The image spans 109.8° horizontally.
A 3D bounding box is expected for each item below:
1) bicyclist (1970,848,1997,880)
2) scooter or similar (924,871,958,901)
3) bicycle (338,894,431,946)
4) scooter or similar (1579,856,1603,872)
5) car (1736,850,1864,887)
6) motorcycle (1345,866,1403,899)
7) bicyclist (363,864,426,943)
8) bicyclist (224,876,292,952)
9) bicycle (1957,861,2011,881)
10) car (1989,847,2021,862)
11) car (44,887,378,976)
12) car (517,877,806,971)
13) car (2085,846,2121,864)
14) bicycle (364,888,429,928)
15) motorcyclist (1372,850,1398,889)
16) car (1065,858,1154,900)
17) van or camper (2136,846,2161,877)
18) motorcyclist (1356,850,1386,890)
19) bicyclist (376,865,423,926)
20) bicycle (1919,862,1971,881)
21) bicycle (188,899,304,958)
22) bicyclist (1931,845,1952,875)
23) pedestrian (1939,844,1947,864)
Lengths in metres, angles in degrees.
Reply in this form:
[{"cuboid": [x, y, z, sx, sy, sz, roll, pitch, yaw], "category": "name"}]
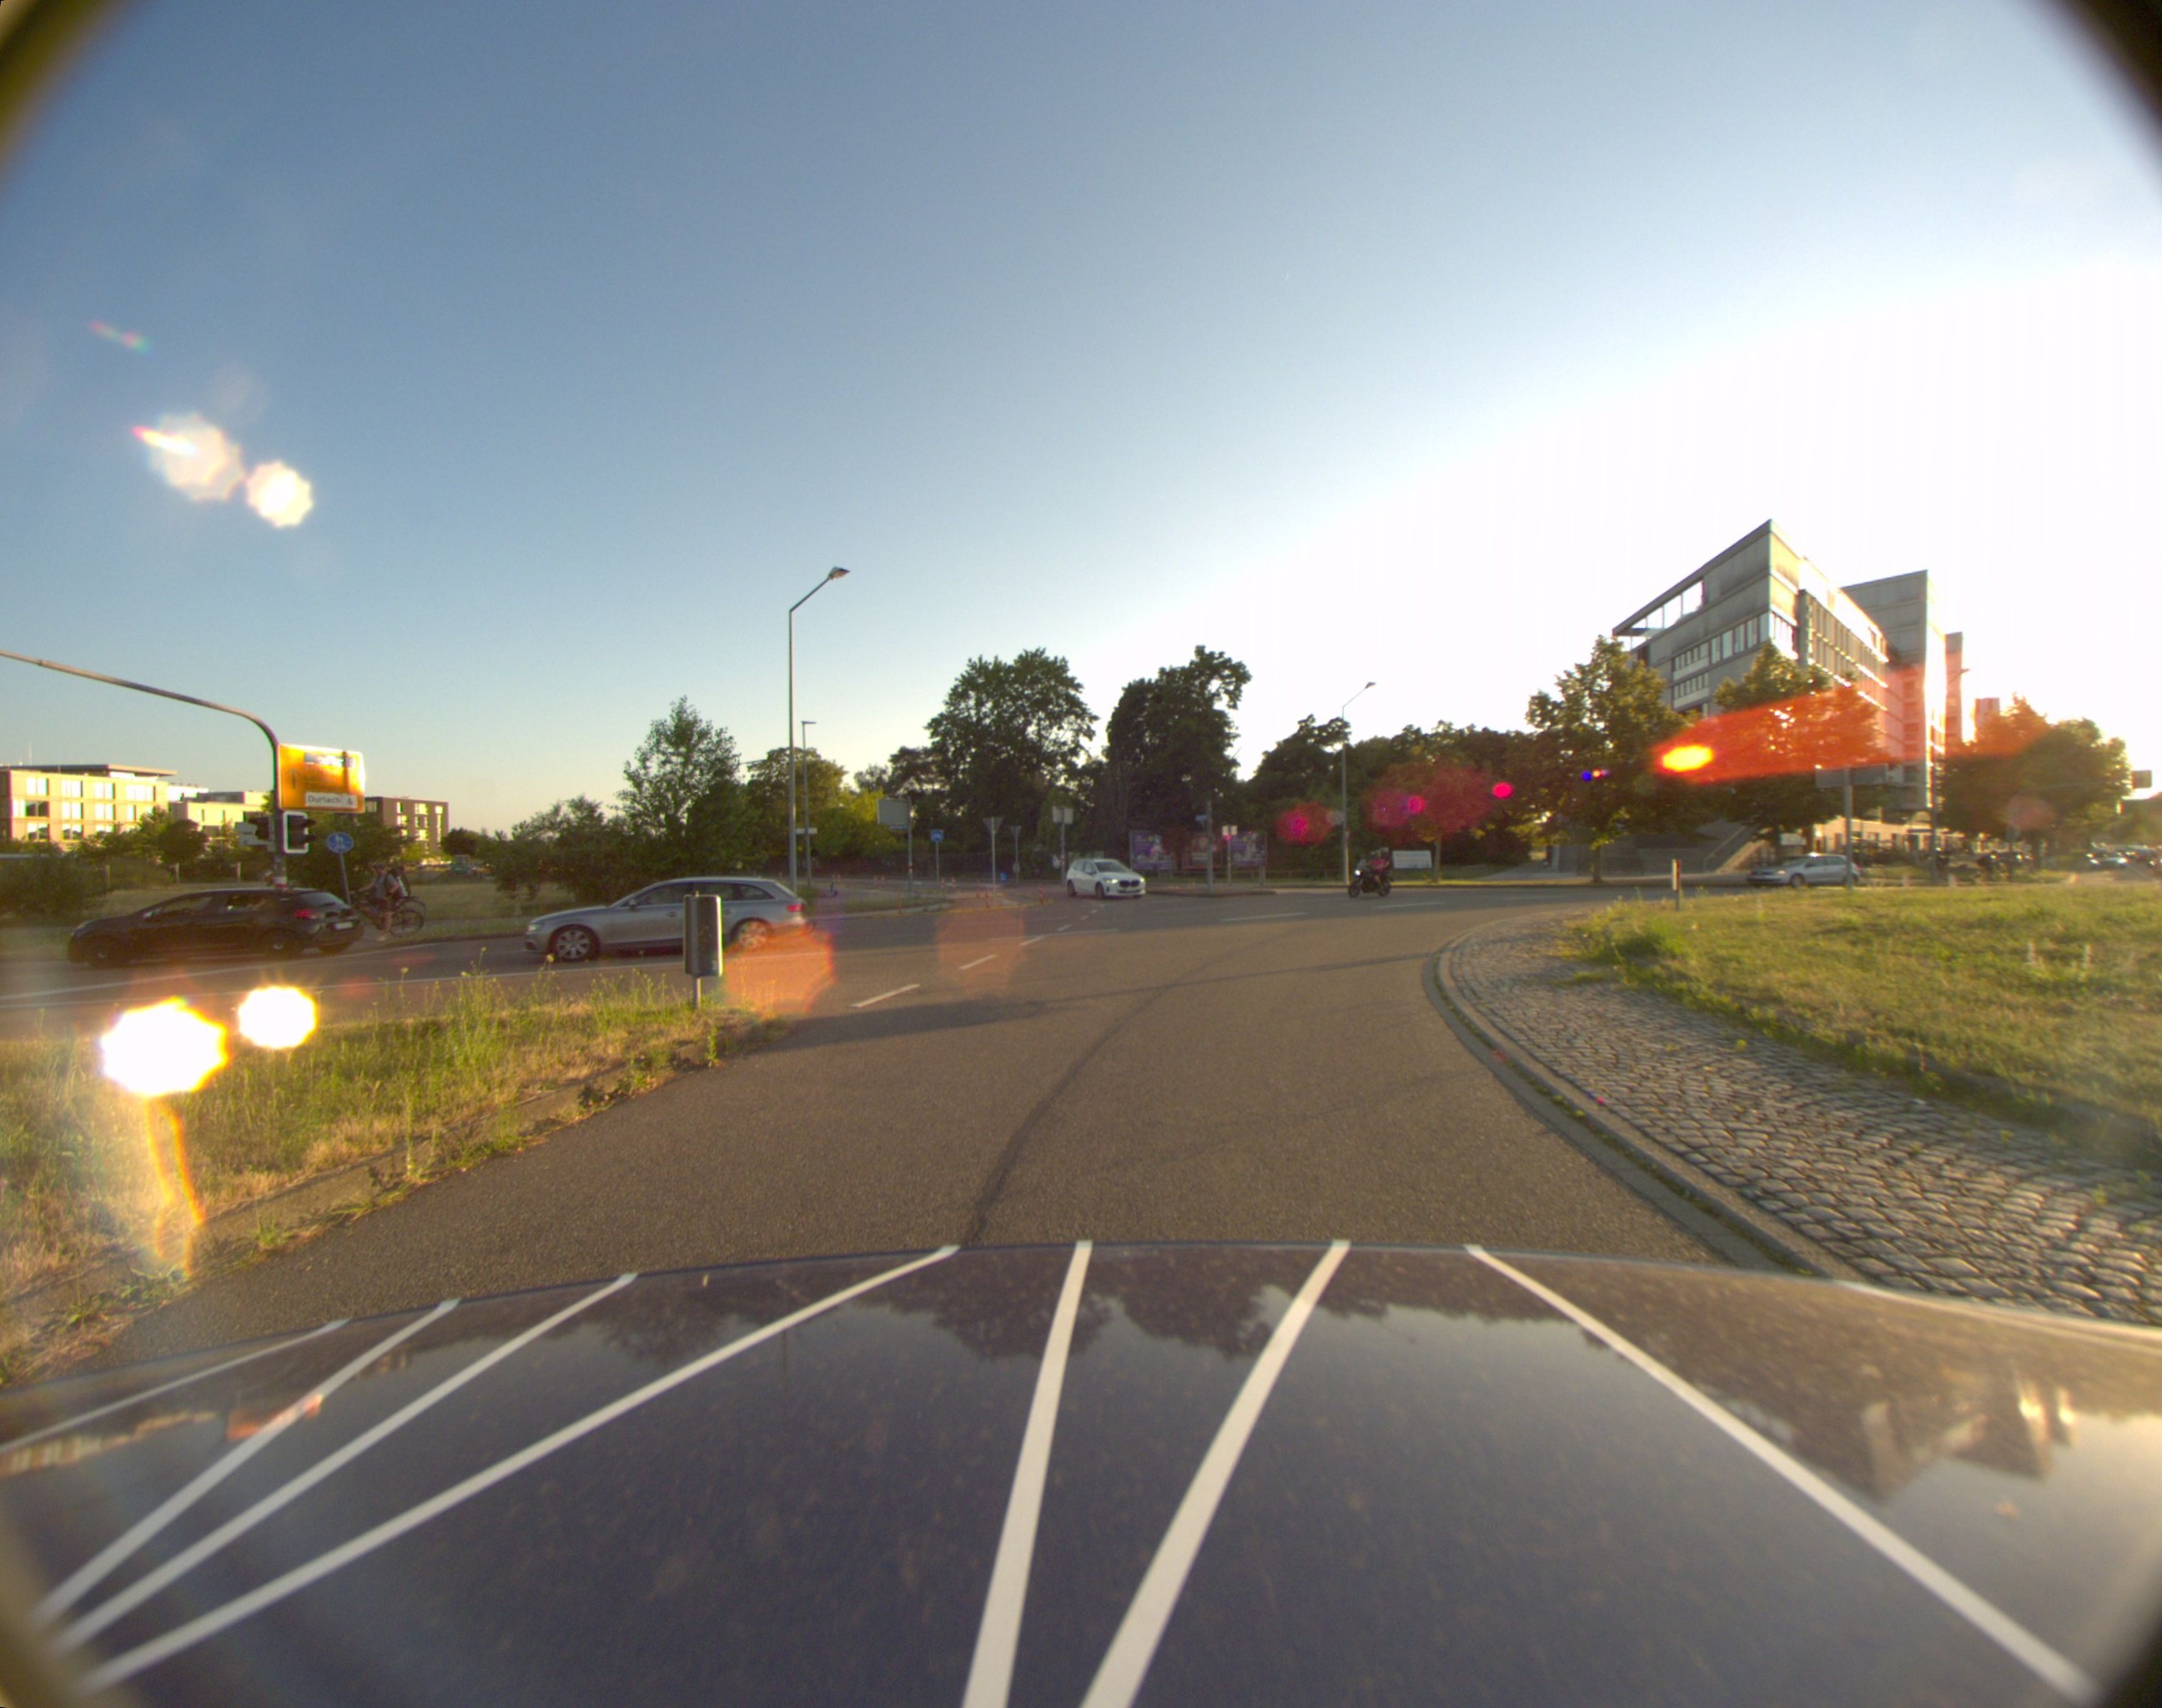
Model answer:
[{"cuboid": [48.947, 0.543, 41.210, 0.805, 1.745, 0.847, -1, 0, -30], "category": "bicyclist"}, {"cuboid": [-5.764, 1.298, 31.337, 0.441, 1.156, 1.386, 0, 0, 39], "category": "scooter or similar"}, {"cuboid": [-17.296, 1.604, 18.930, 0.456, 1.079, 1.928, -1, 2, 2], "category": "bicycle"}, {"cuboid": [38.850, 0.731, 57.879, 0.367, 1.213, 1.573, -1, 0, -27], "category": "scooter or similar"}, {"cuboid": [31.199, 0.594, 33.028, 4.050, 1.472, 1.891, -1, 0, -6], "category": "car"}, {"cuboid": [10.599, 1.015, 27.464, 2.162, 1.094, 0.557, -1, 1, -23], "category": "motorcycle"}, {"cuboid": [-17.166, 1.211, 19.018, 0.641, 1.887, 0.910, -1, 2, 1], "category": "bicyclist"}, {"cuboid": [-19.206, 1.378, 17.754, 0.641, 1.693, 0.770, -1, 3, 1], "category": "bicyclist"}, {"cuboid": [49.225, 0.916, 41.442, 0.438, 1.016, 1.859, -1, 0, -30], "category": "bicycle"}, {"cuboid": [89.249, 0.062, 73.360, 4.008, 1.455, 1.798, 0, 0, -37], "category": "car"}, {"cuboid": [-17.033, 1.458, 15.169, 4.003, 1.455, 1.800, 0, 0, -19], "category": "car"}, {"cuboid": [-7.504, 1.198, 14.123, 4.453, 1.414, 1.800, 0, 0, -21], "category": "car"}, {"cuboid": [87.784, 0.079, 65.317, 4.008, 1.455, 1.798, 0, 0, -37], "category": "car"}, {"cuboid": [-19.981, 1.565, 22.191, 1.374, 1.082, 0.280, -1, 0, -22], "category": "bicycle"}, {"cuboid": [11.088, 0.553, 27.680, 0.595, 1.400, 0.635, -1, 1, -22], "category": "motorcyclist"}, {"cuboid": [1.069, 0.942, 30.770, 1.893, 1.549, 4.087, -1, 0, -25], "category": "car"}, {"cuboid": [73.066, 0.468, 51.162, 5.337, 1.946, 1.995, -1, 0, -32], "category": "van or camper"}, {"cuboid": [10.471, 0.557, 27.410, 0.715, 1.408, 0.687, -1, 1, -22], "category": "motorcyclist"}, {"cuboid": [-19.906, 1.209, 22.203, 0.845, 1.733, 0.536, -1, 0, -21], "category": "bicyclist"}, {"cuboid": [46.797, 0.922, 41.176, 1.858, 1.016, 0.308, -1, 0, 43], "category": "bicycle"}, {"cuboid": [-19.206, 1.681, 17.542, 0.456, 1.079, 1.927, -1, 3, 2], "category": "bicycle"}, {"cuboid": [46.877, 0.314, 41.398, 0.682, 1.638, 0.685, 0, 0, 43], "category": "bicyclist"}, {"cuboid": [90.715, -0.001, 79.931, 0.528, 2.002, 0.537, -1, 0, -38], "category": "pedestrian"}]
